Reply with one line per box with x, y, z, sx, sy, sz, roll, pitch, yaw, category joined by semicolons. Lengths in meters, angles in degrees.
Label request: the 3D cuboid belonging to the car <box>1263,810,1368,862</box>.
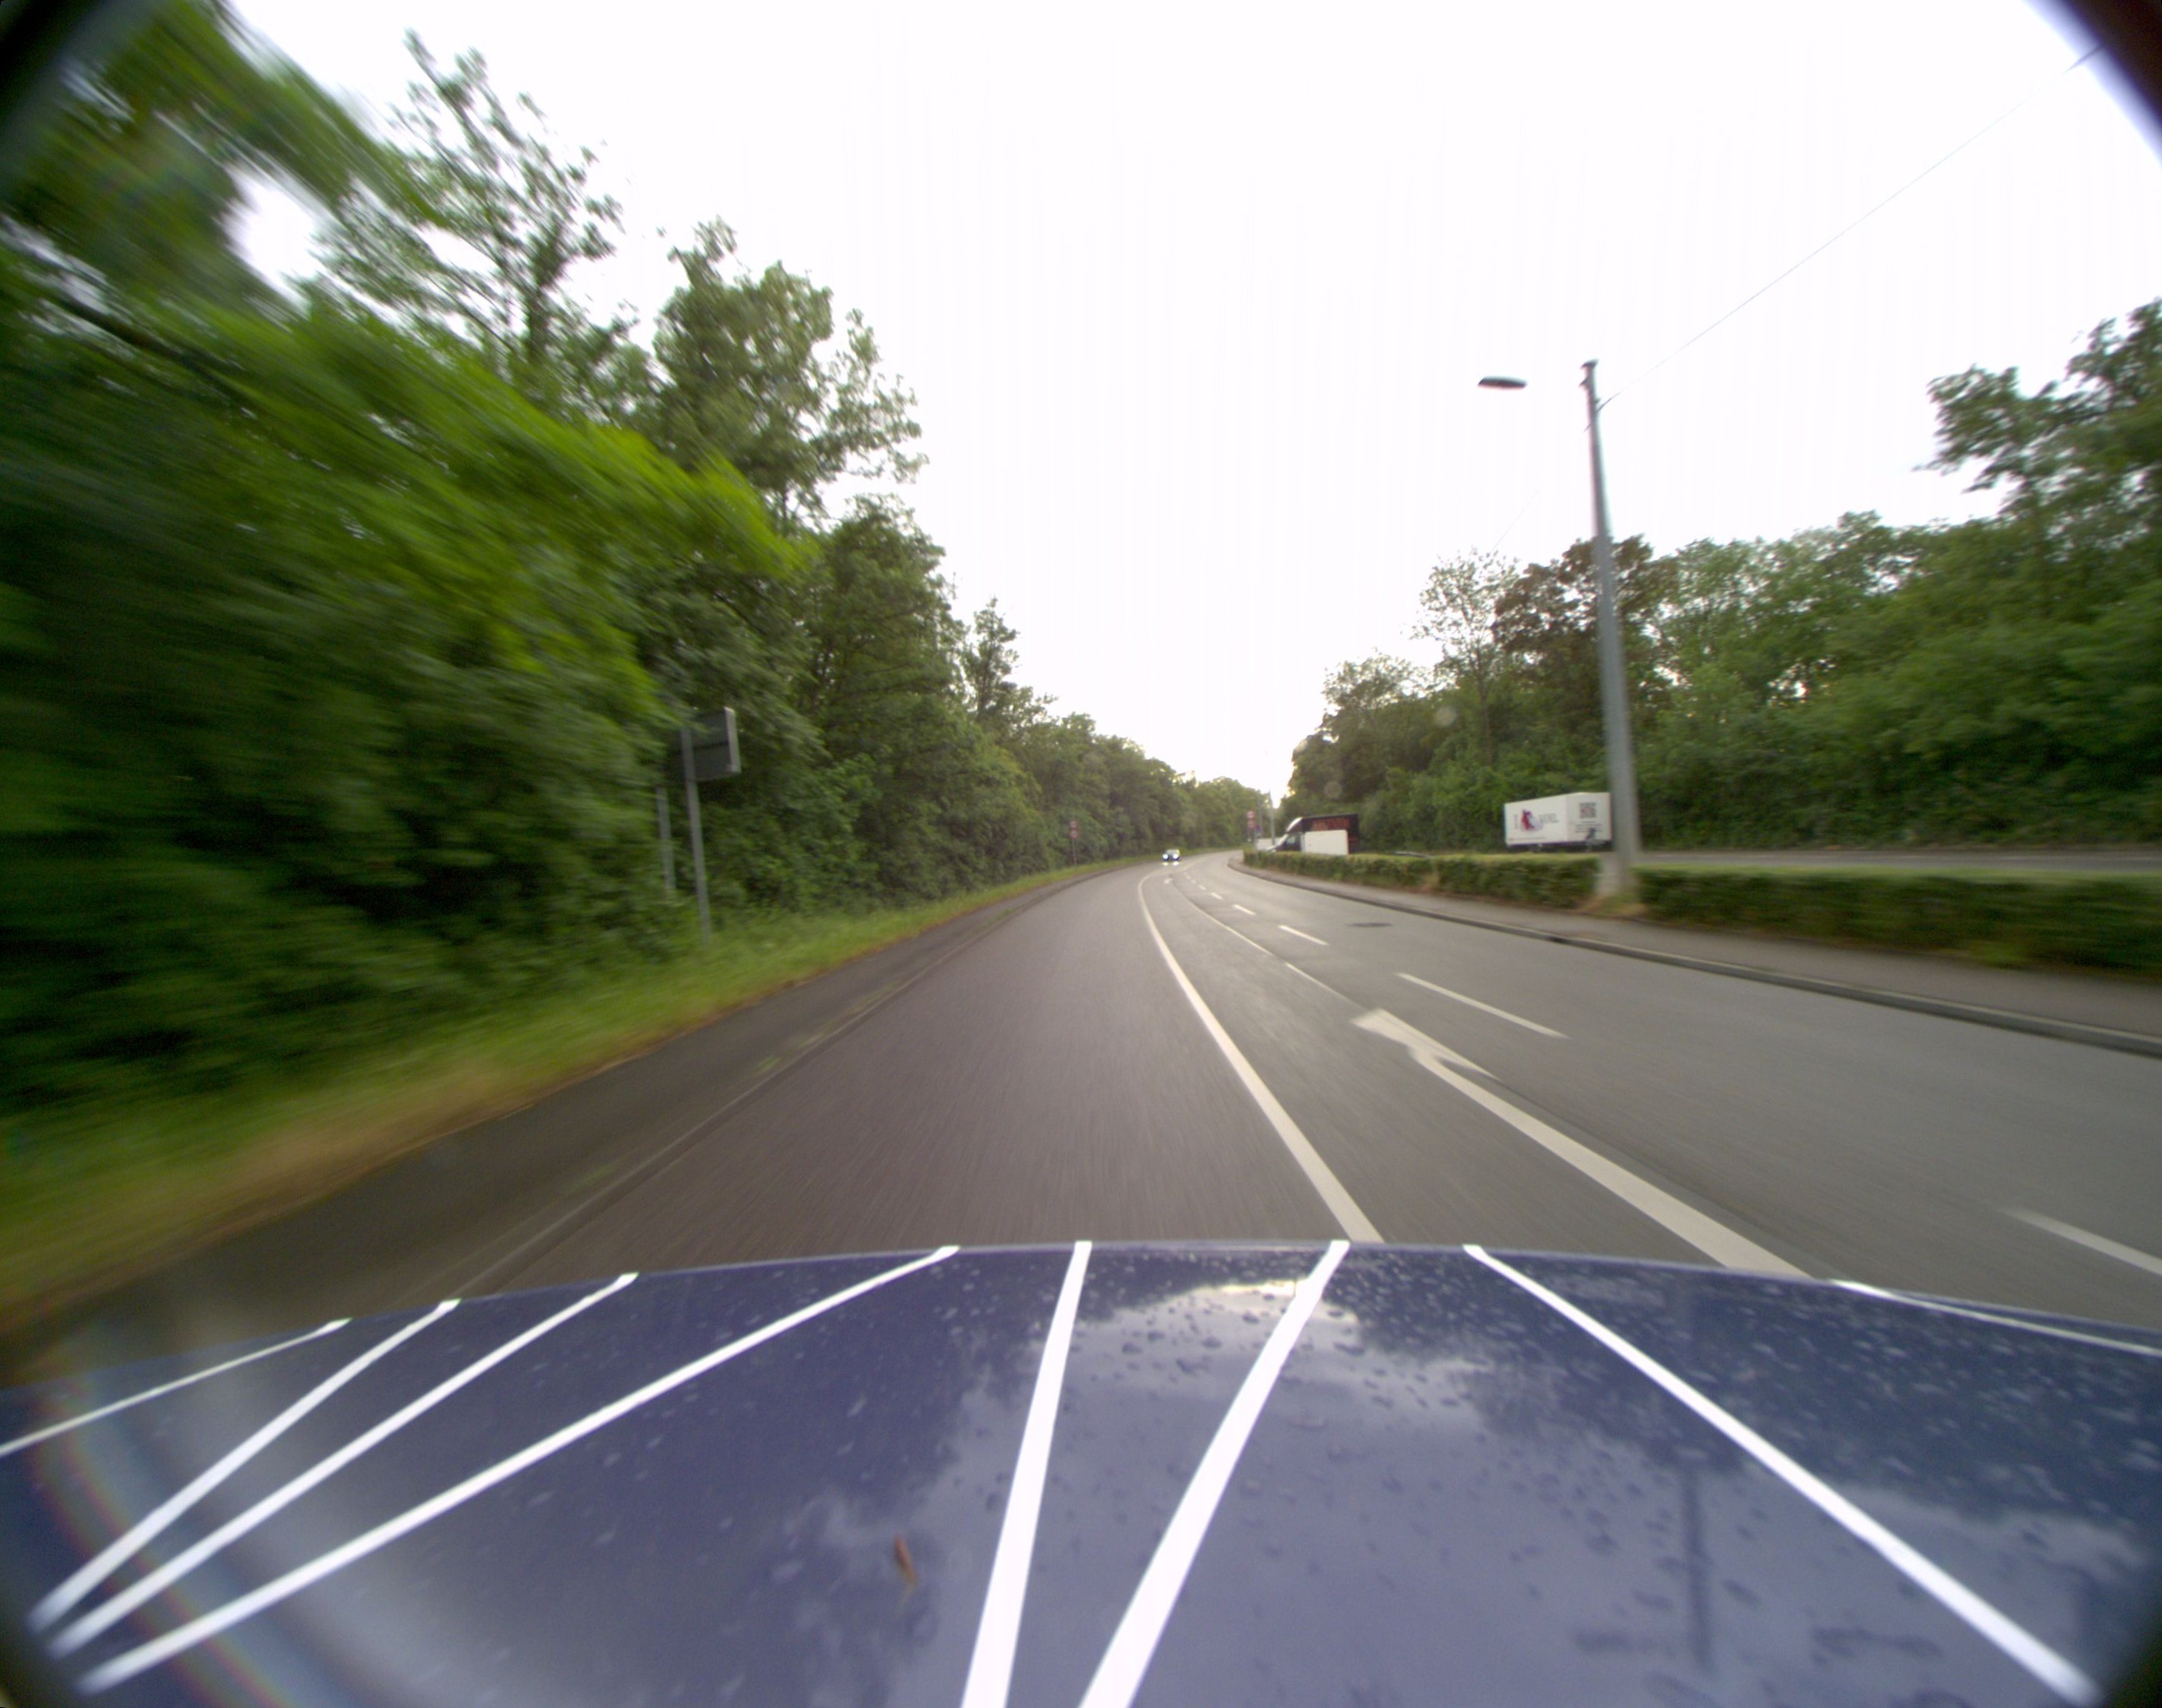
15.883;-1.229;51.784;6.286;3.096;2.752;-3;2;4;car

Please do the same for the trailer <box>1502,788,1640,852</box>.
25.237;-1.651;39.731;2.481;2.857;7.978;-3;1;4;trailer

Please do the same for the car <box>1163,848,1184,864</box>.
10.988;0.212;90.085;1.997;1.674;4.003;-2;1;13;car

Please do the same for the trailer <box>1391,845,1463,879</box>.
11.798;0.269;25.996;1.805;1.028;1.334;-3;1;1;trailer

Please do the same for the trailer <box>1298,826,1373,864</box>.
15.467;-0.560;46.368;3.995;2.041;1.874;-3;1;7;trailer
